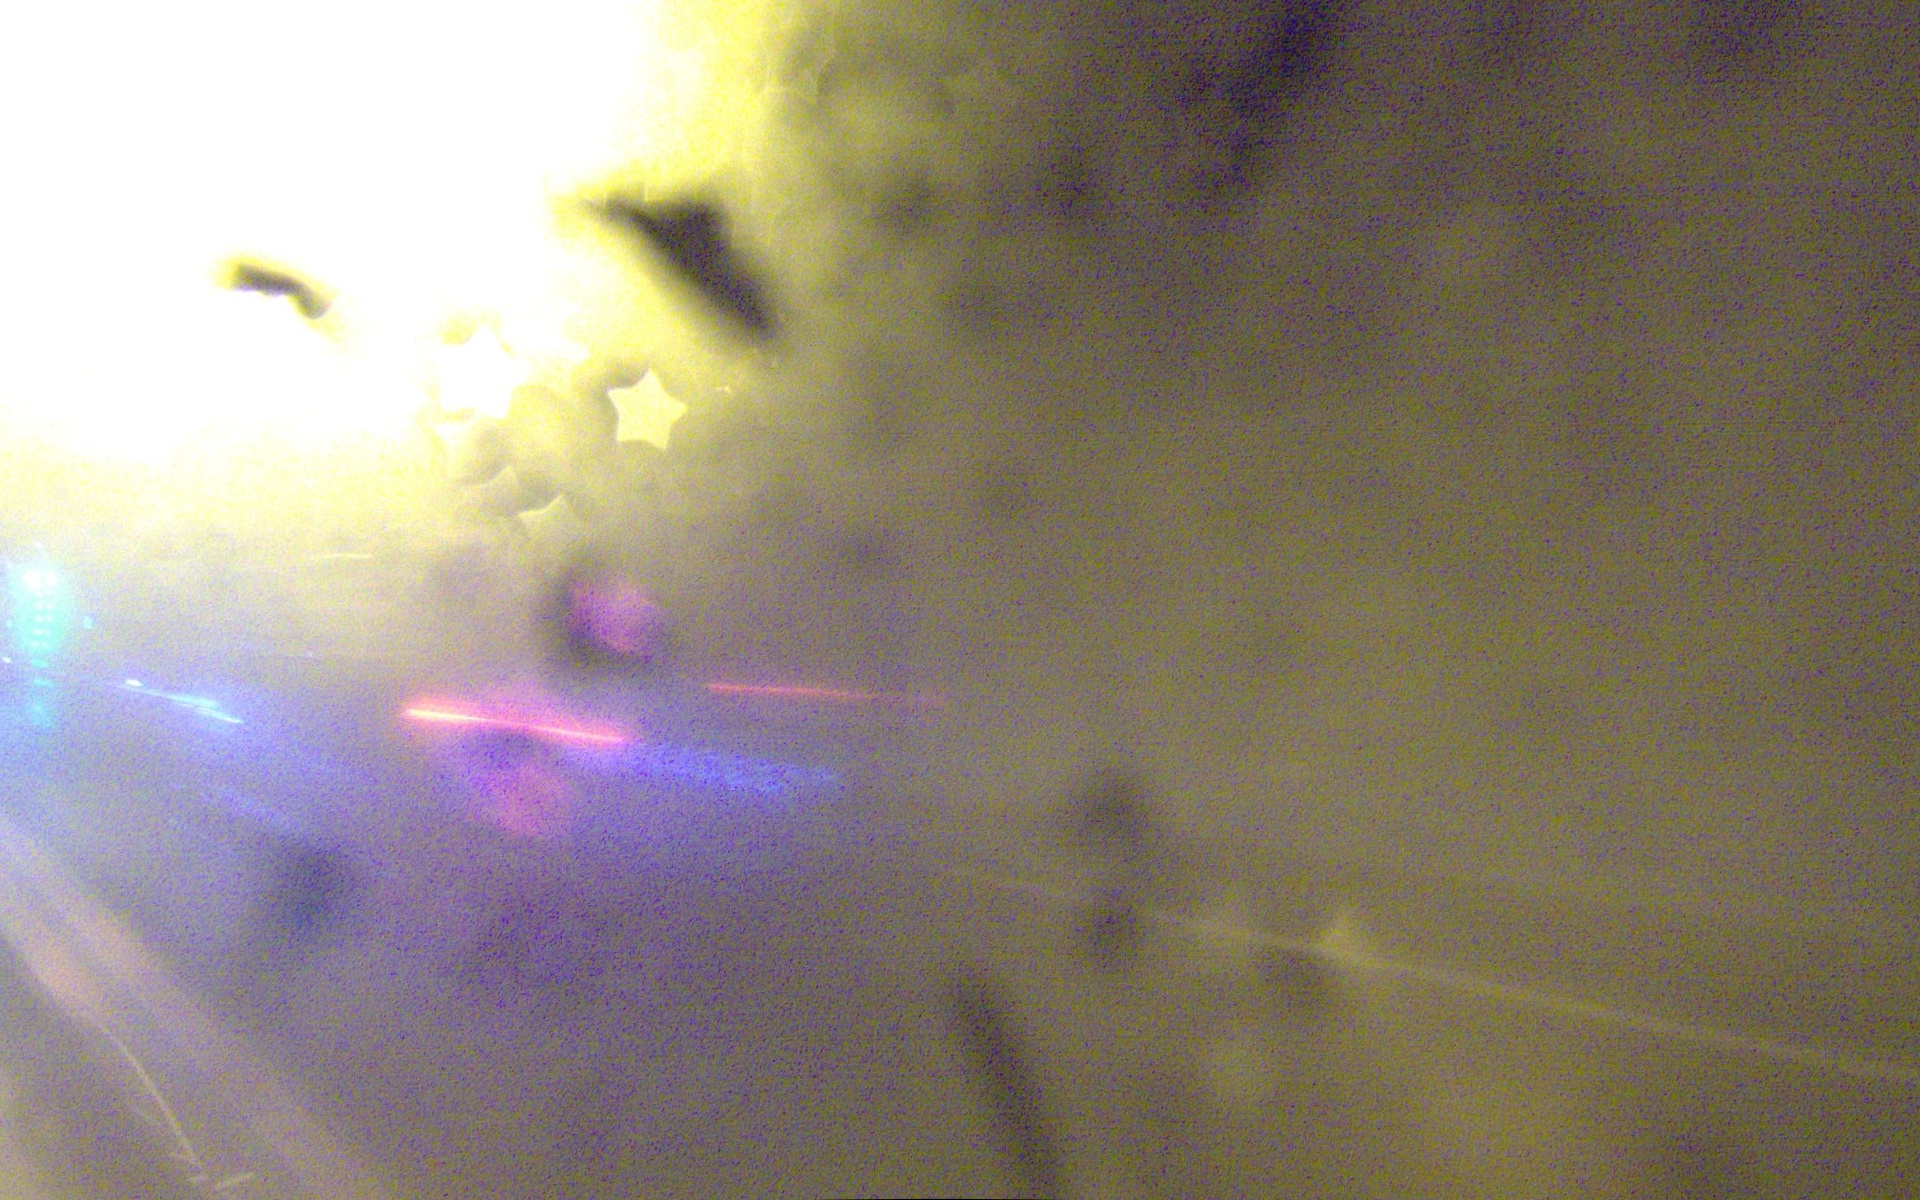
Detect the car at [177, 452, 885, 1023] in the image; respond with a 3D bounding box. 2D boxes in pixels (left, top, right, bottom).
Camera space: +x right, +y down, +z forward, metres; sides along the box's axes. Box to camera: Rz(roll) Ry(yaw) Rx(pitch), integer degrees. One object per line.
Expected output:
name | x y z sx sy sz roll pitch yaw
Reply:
car | -2.670 0.529 5.628 4.606 1.914 1.821 -2 -3 42
